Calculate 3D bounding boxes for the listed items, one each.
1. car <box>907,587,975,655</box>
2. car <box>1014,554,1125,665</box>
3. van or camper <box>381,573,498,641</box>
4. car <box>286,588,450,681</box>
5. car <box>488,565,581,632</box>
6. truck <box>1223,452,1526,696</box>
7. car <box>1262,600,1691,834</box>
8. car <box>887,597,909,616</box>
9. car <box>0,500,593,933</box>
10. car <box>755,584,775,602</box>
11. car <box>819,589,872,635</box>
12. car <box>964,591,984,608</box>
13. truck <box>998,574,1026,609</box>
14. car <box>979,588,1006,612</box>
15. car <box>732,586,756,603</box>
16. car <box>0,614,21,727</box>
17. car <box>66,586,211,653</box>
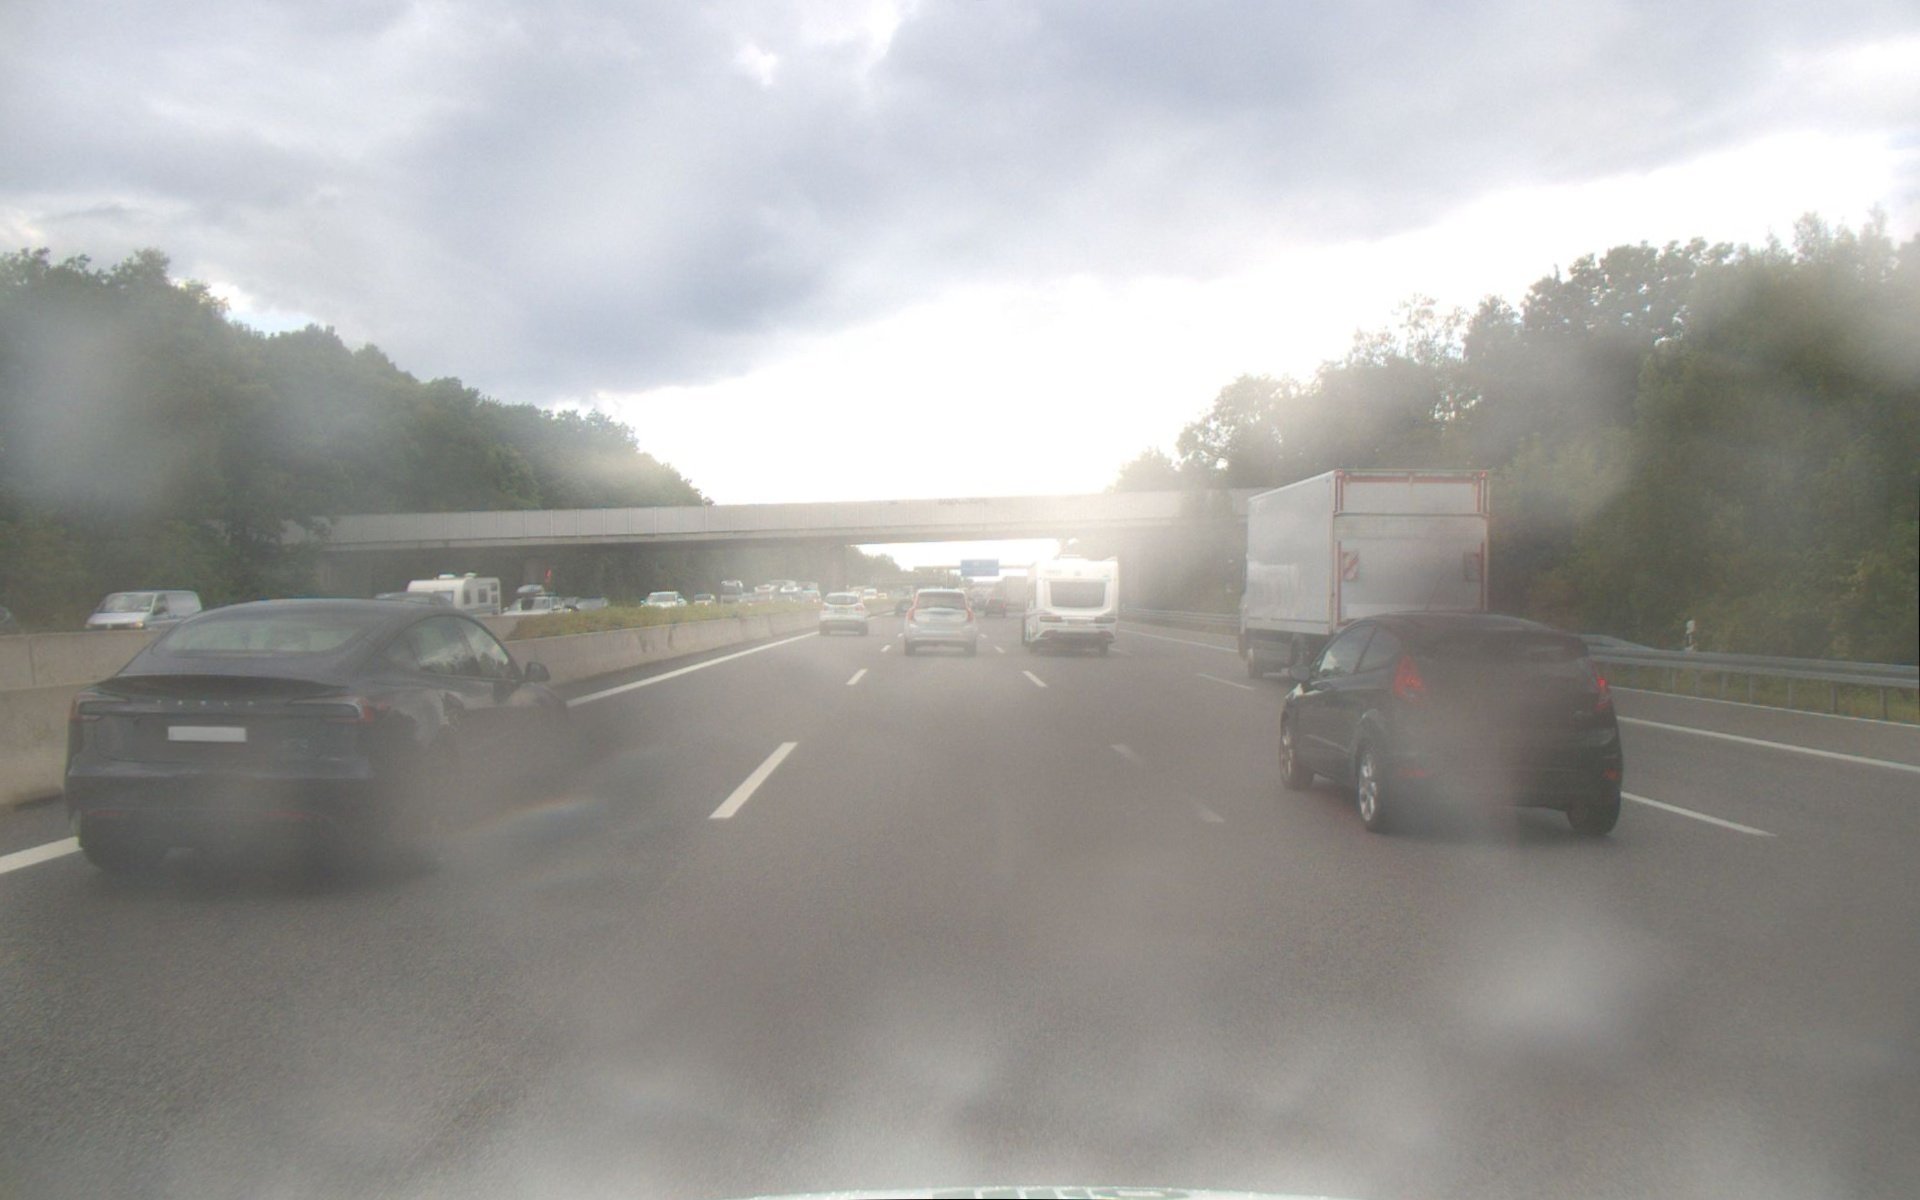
[{"bbox_3d":[-0.515,0.536,44.920,1.744,1.746,4.352,0,0,-1],"label":"car"},{"bbox_3d":[3.039,0.217,47.806,2.515,2.946,7.531,0,0,-1],"label":"car"},{"bbox_3d":[-22.337,0.249,71.443,2.552,2.754,8.123,0,0,-1],"label":"van or camper"},{"bbox_3d":[-13.473,0.715,37.997,1.953,1.986,5.224,0,0,-1],"label":"car"},{"bbox_3d":[-14.806,-0.074,57.903,1.953,2.219,5.288,0,0,-1],"label":"car"},{"bbox_3d":[7.220,-0.438,30.597,3.069,3.774,9.846,0,0,0],"label":"truck"},{"bbox_3d":[3.614,0.731,12.459,1.846,1.431,4.282,0,0,-1],"label":"car"},{"bbox_3d":[-5.249,0.527,140.762,1.745,1.507,4.352,0,0,-1],"label":"car"},{"bbox_3d":[-3.640,0.484,9.672,1.953,1.852,5.161,0,0,-1],"label":"car"},{"bbox_3d":[-22.199,-0.816,188.686,1.953,2.049,3.998,0,0,-2],"label":"car"},{"bbox_3d":[-4.547,0.444,66.200,1.778,1.719,4.852,0,1,0],"label":"car"},{"bbox_3d":[1.461,-0.049,177.988,2.002,1.855,4.903,0,0,-1],"label":"car"},{"bbox_3d":[6.007,-0.998,190.888,2.847,3.876,7.272,0,0,-1],"label":"truck"},{"bbox_3d":[2.627,-0.025,134.848,2.002,1.855,4.903,0,0,-1],"label":"car"},{"bbox_3d":[-25.257,-0.661,193.512,2.175,1.986,4.827,0,0,-1],"label":"car"},{"bbox_3d":[-17.835,1.254,27.121,1.953,1.986,5.224,0,0,-1],"label":"car"},{"bbox_3d":[-25.403,0.560,51.366,1.953,1.986,5.224,0,0,-1],"label":"car"}]
